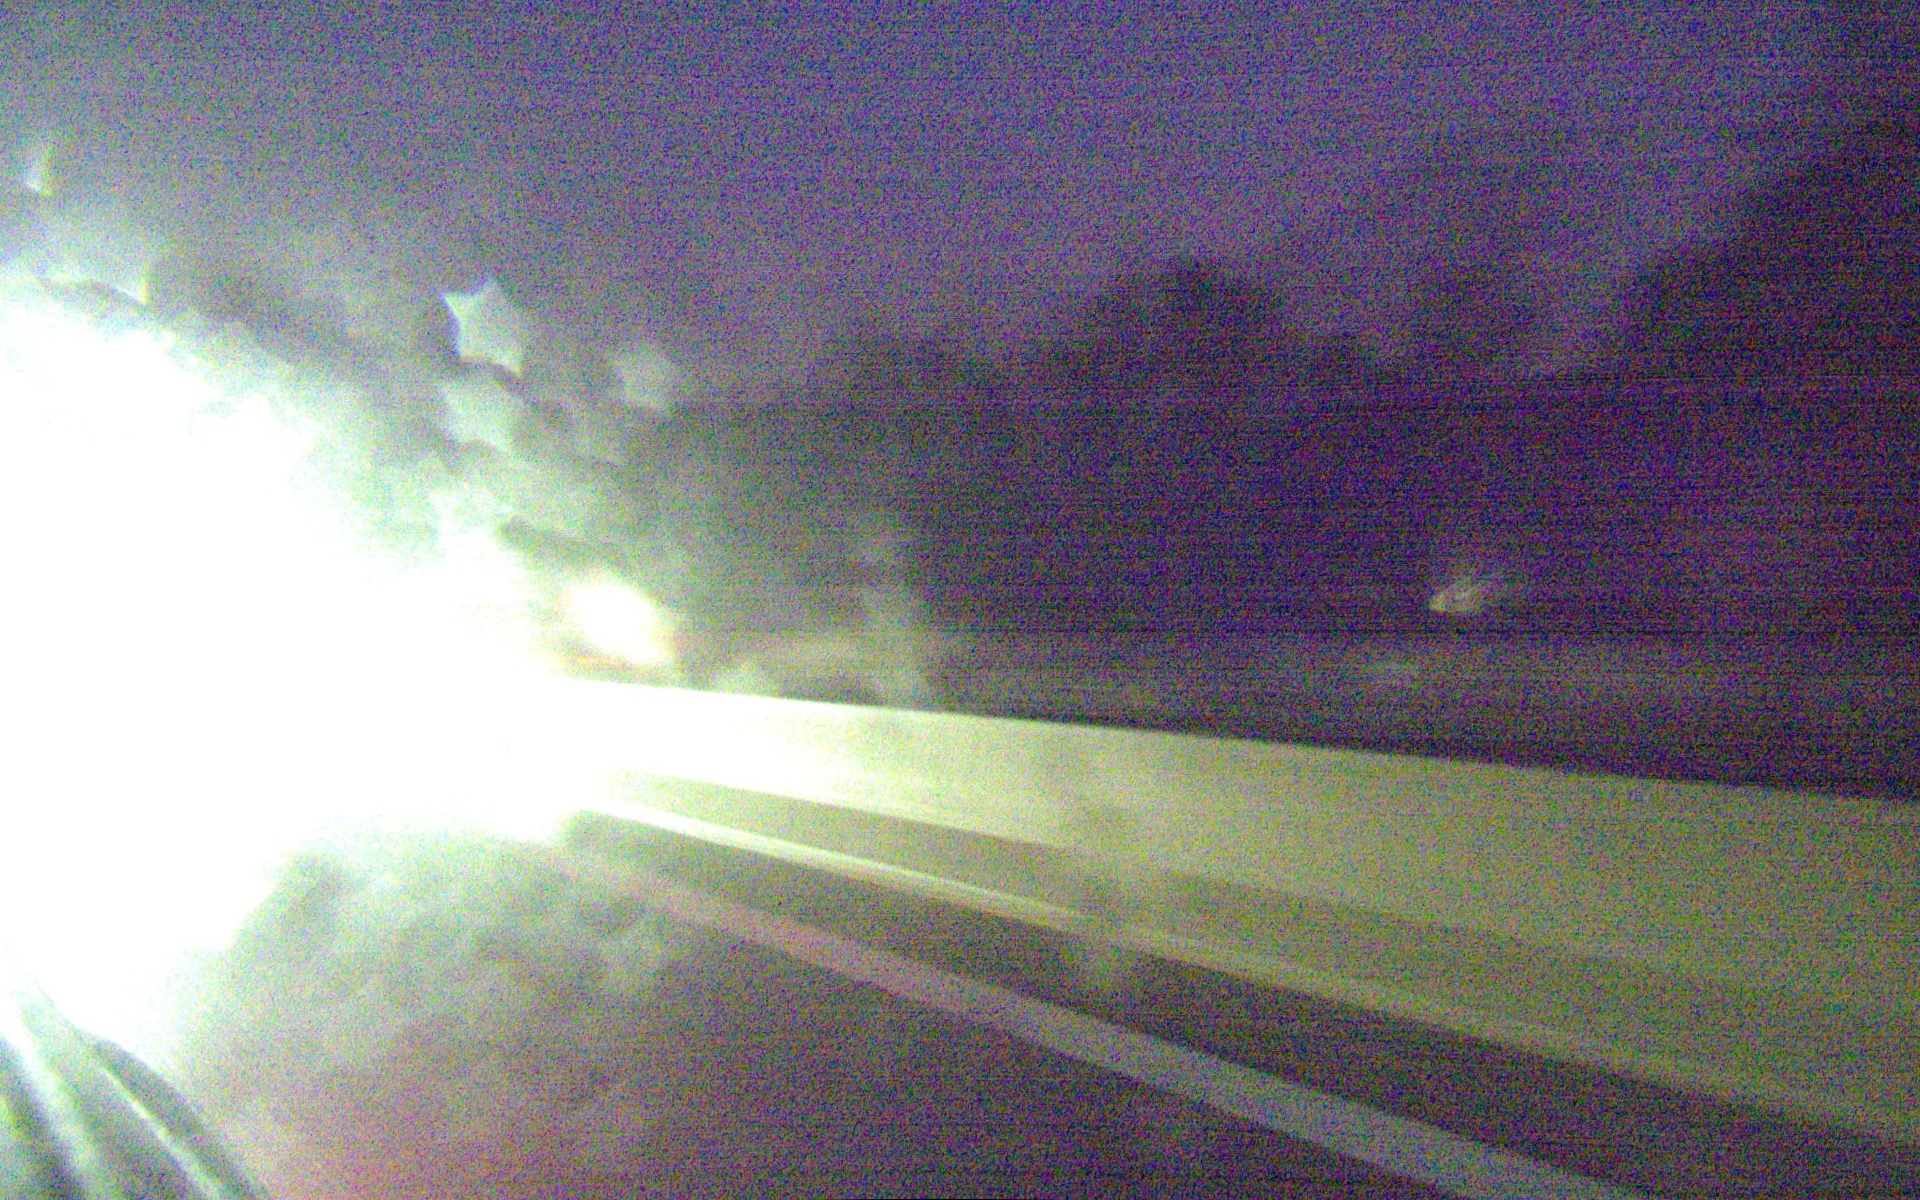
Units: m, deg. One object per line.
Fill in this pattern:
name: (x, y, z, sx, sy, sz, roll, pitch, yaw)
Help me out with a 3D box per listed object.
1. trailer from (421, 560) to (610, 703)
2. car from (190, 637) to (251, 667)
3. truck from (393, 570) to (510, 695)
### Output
trailer: (-17.193, 1.190, 38.636, 10.164, 4.860, 2.380, -2, -1, 41)
car: (-38.761, 2.683, 53.029, 3.997, 1.442, 1.723, -2, 0, 41)
truck: (-21.225, 1.311, 42.121, 5.384, 4.848, 2.401, -2, -1, 41)
